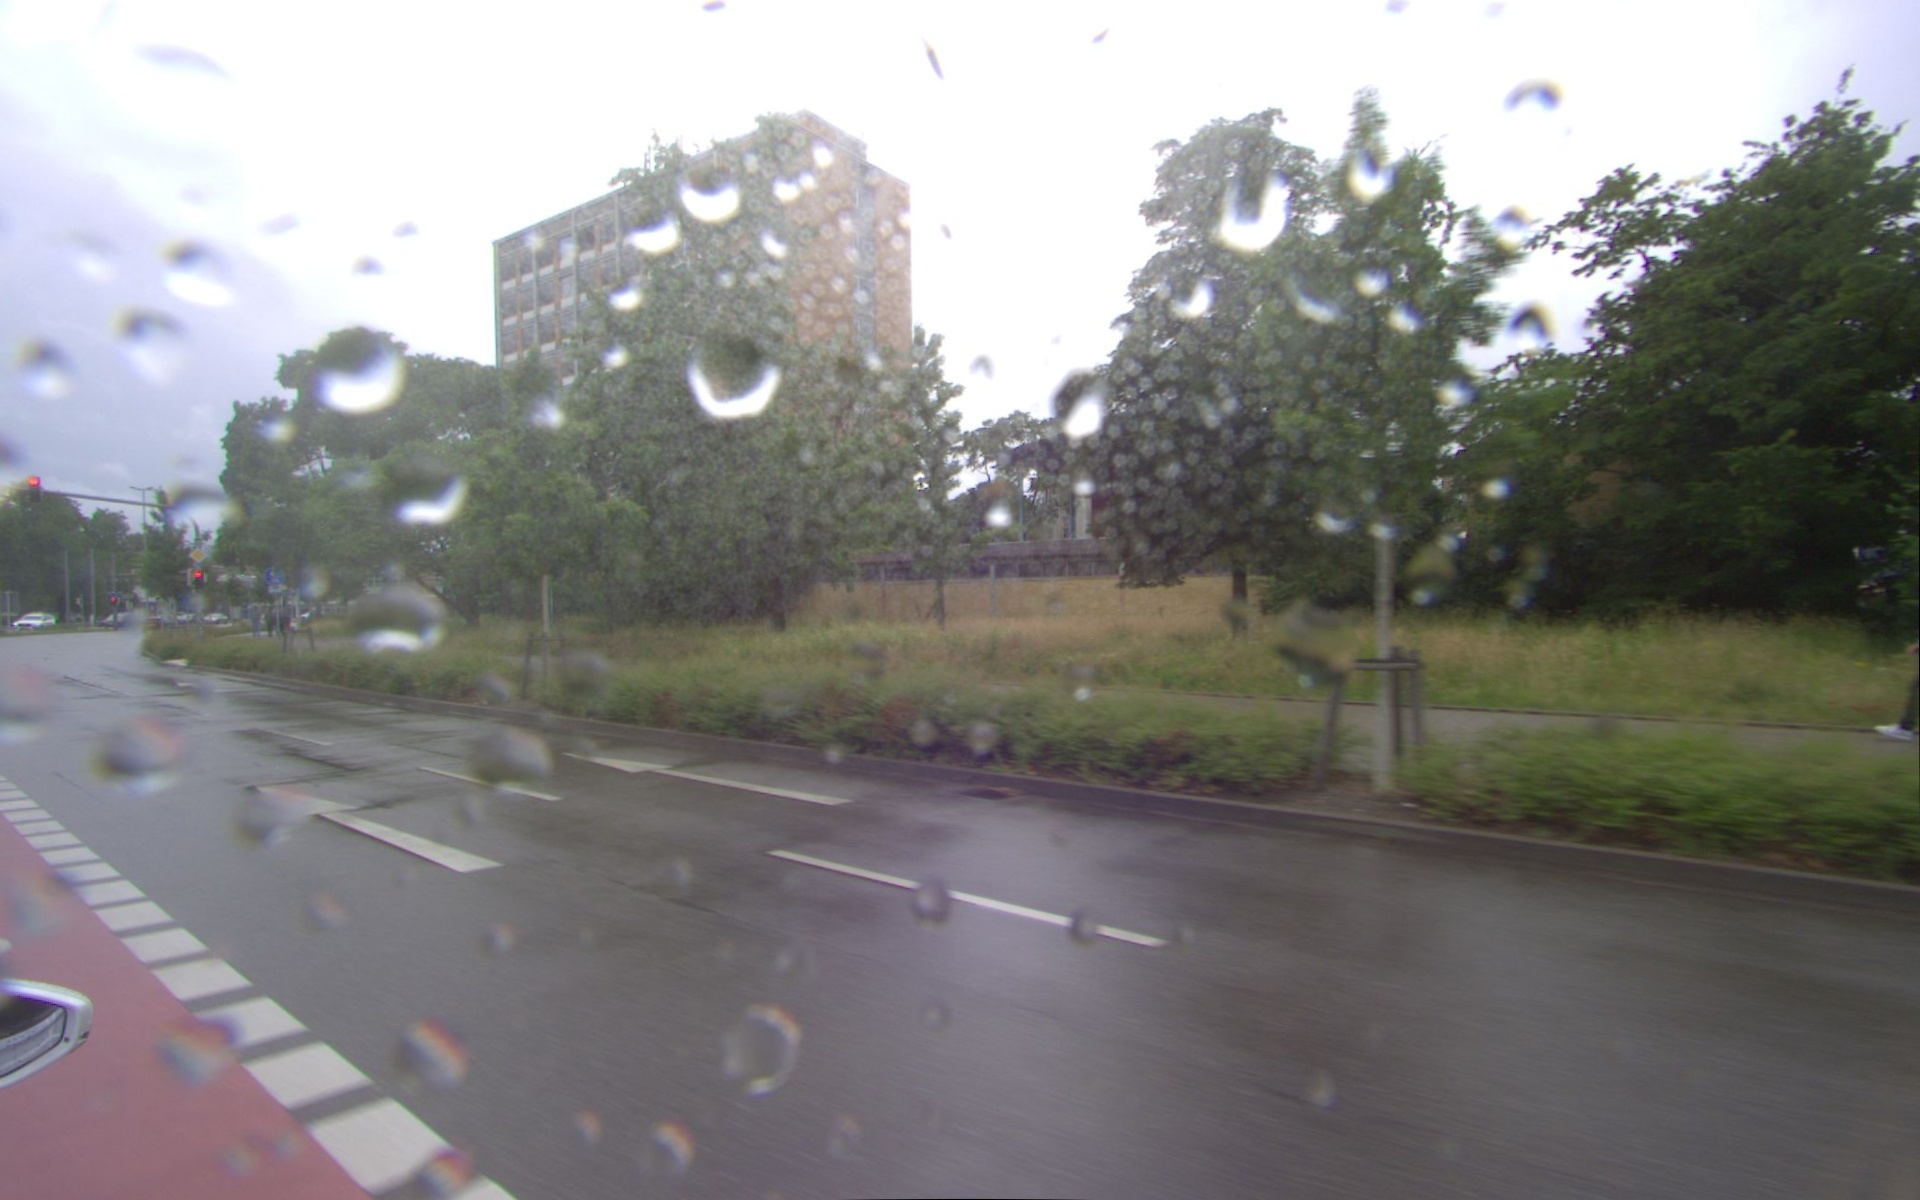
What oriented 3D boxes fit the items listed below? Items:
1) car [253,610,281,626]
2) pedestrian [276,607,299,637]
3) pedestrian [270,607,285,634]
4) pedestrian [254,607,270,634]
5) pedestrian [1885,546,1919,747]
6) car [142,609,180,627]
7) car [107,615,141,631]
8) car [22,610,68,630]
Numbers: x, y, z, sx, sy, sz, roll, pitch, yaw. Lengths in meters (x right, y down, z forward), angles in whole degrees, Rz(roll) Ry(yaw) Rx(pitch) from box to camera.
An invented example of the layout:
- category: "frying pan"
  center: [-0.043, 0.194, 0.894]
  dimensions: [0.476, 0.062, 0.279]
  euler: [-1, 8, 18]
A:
- category: "car"
  center: [-75.370, 1.972, 108.953]
  dimensions: [1.767, 1.665, 4.144]
  euler: [0, 0, -25]
- category: "pedestrian"
  center: [-37.075, 1.212, 55.221]
  dimensions: [1.013, 1.609, 0.929]
  euler: [0, 1, -36]
- category: "pedestrian"
  center: [-41.315, 1.232, 60.627]
  dimensions: [0.696, 1.609, 0.929]
  euler: [-1, 1, -36]
- category: "pedestrian"
  center: [-41.943, 1.237, 60.170]
  dimensions: [0.747, 1.609, 0.929]
  euler: [-1, 1, -36]
- category: "pedestrian"
  center: [9.176, 0.422, 9.284]
  dimensions: [0.927, 1.821, 0.820]
  euler: [-1, 1, -44]
- category: "car"
  center: [-74.267, 1.664, 93.150]
  dimensions: [1.767, 1.665, 4.144]
  euler: [0, 0, -25]
- category: "car"
  center: [-99.951, 2.778, 119.773]
  dimensions: [1.670, 1.714, 4.170]
  euler: [-1, 2, -20]
- category: "car"
  center: [-85.762, 1.843, 93.925]
  dimensions: [1.804, 1.704, 5.142]
  euler: [-2, 1, -26]
